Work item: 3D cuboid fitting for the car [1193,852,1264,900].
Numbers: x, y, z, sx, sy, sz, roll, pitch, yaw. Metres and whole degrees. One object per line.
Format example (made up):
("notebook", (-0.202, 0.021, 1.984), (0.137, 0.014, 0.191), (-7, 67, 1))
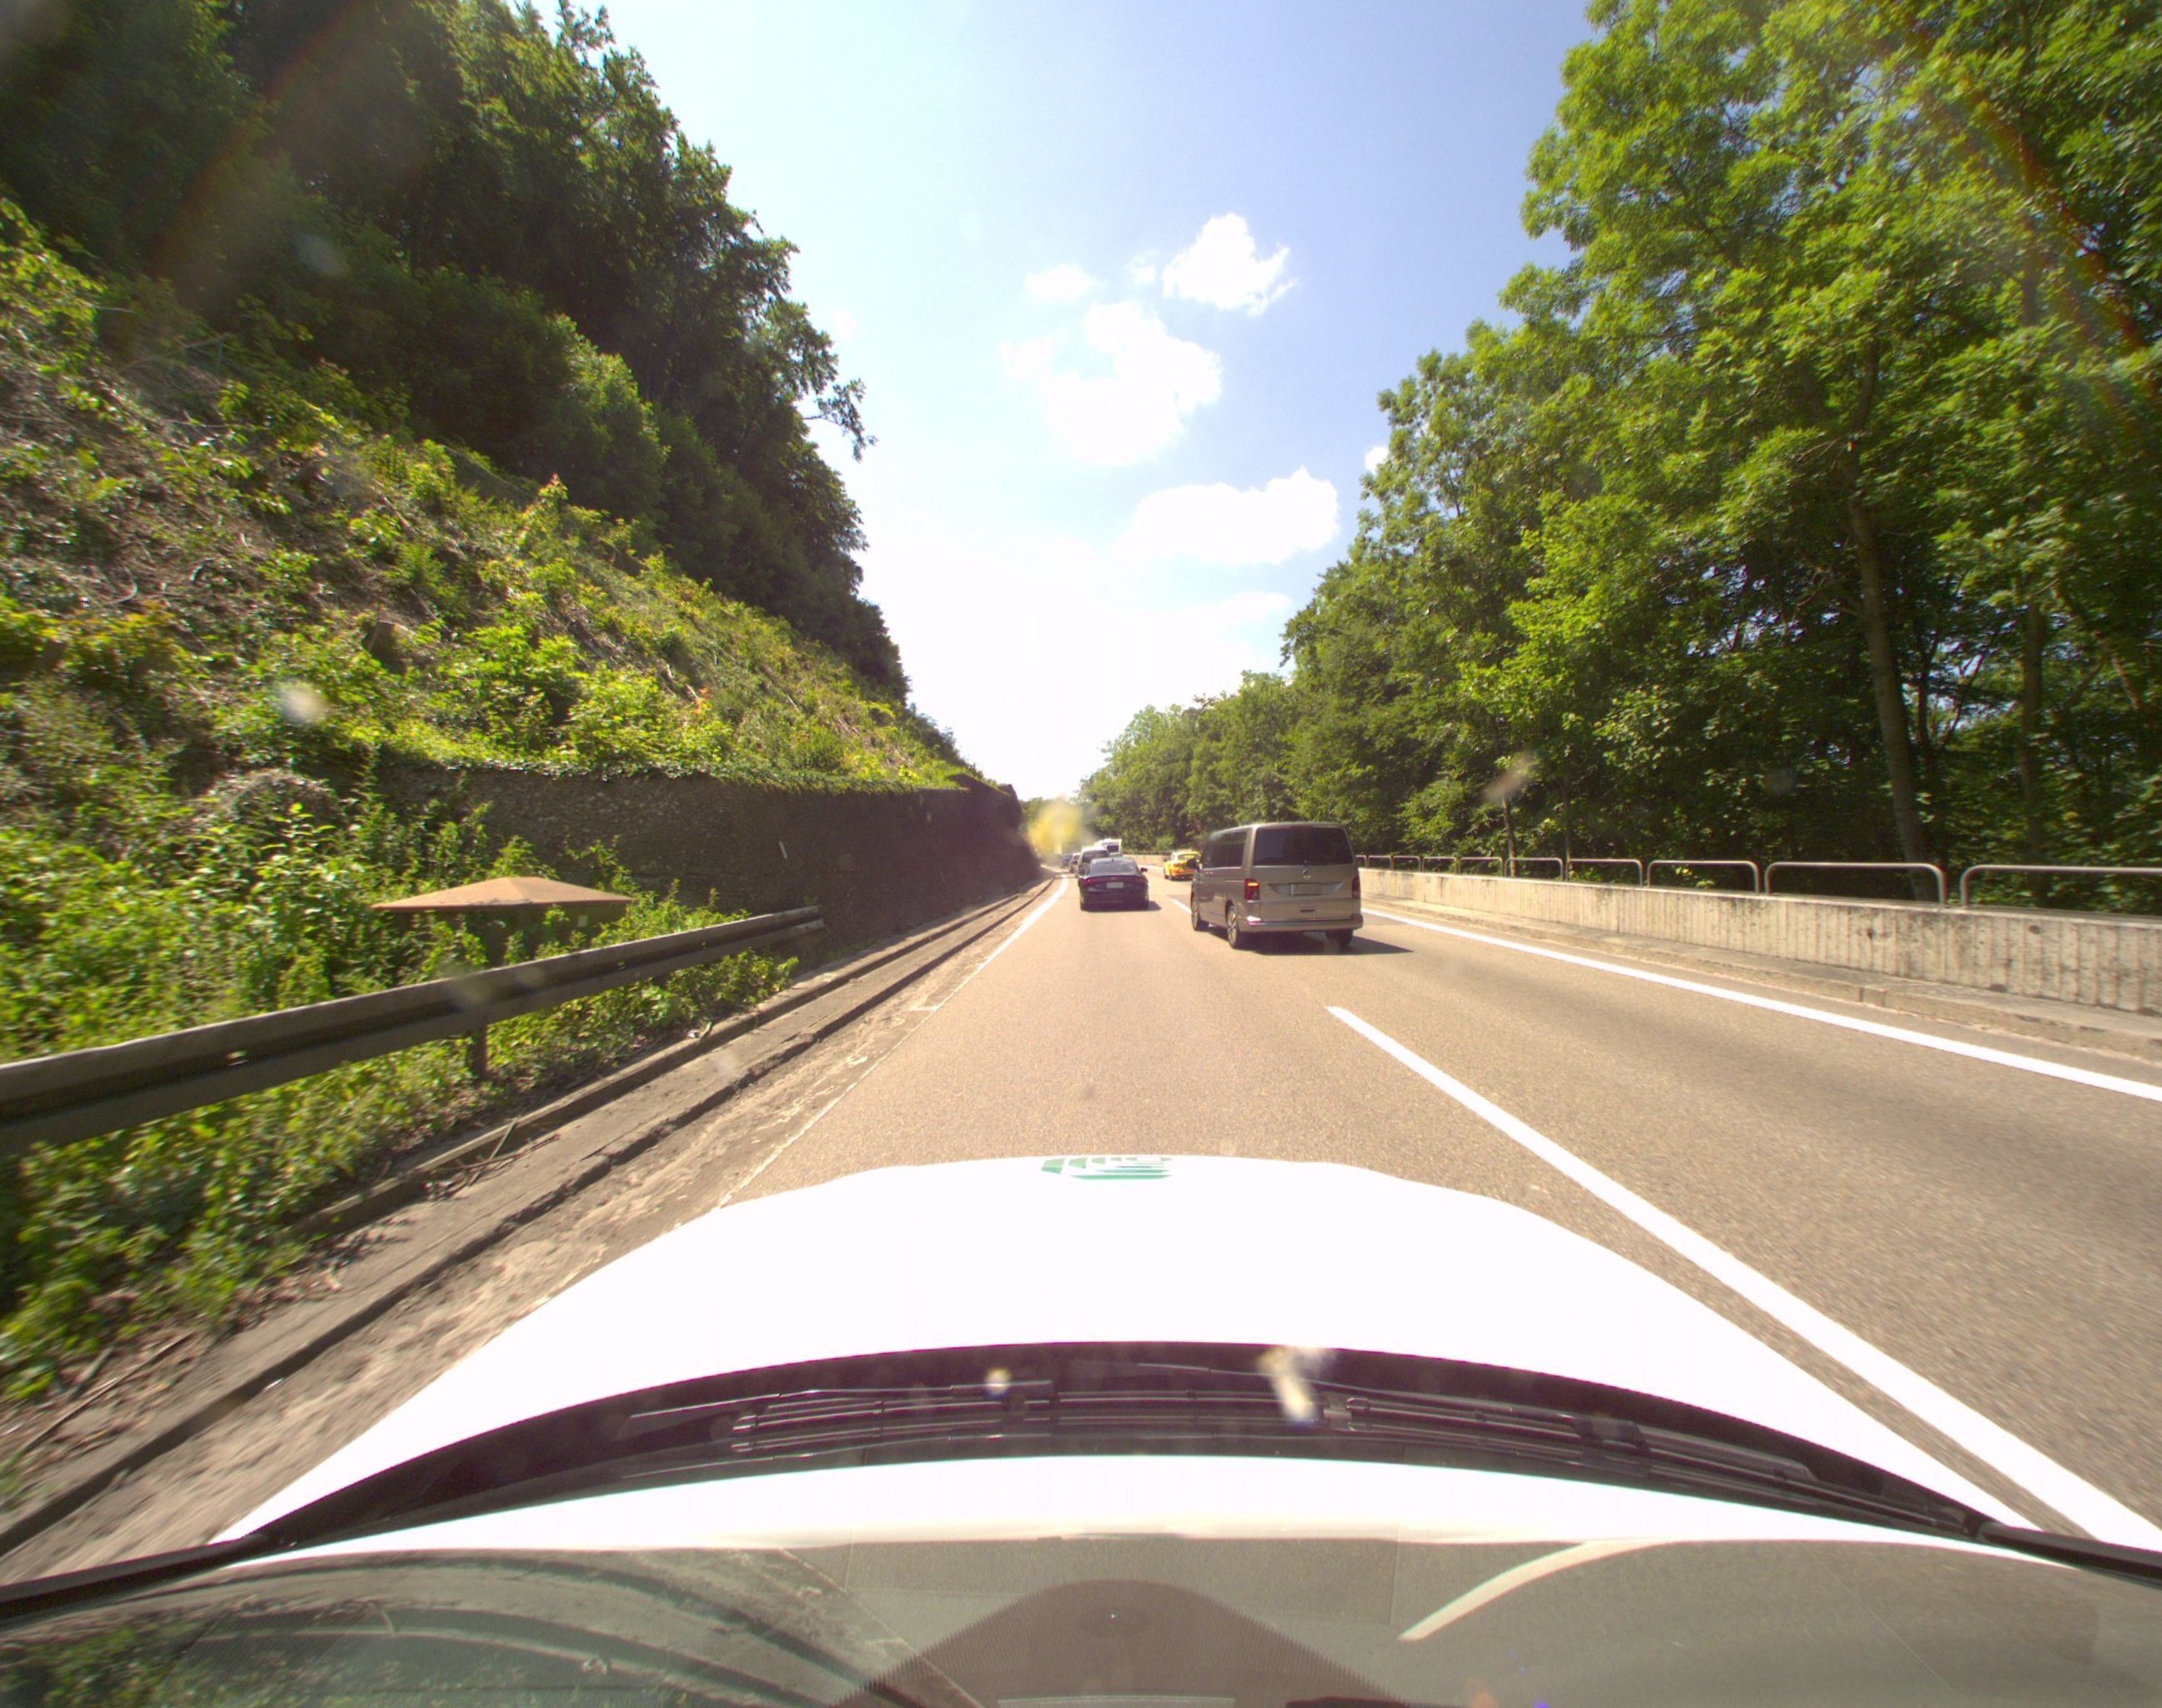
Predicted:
("car", (4.788, 0.663, 26.942), (1.679, 1.458, 4.001), (0, 0, 1))

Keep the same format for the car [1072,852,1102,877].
("car", (0.335, 0.649, 52.599), (1.767, 1.472, 3.997), (-2, 0, -2))

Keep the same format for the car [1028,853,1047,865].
("car", (-5.827, 0.602, 109.207), (1.754, 1.571, 3.752), (0, 0, -15))

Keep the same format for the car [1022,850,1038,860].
("car", (-7.786, 0.127, 123.997), (1.752, 1.571, 3.755), (0, 0, -12))

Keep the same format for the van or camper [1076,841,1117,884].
("van or camper", (0.781, 0.405, 39.897), (1.846, 1.942, 4.167), (2, 0, 2))

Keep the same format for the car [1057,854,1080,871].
("car", (-1.308, 0.797, 81.609), (1.857, 1.619, 3.989), (0, 0, -8))

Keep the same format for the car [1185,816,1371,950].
("car", (3.177, 0.412, 14.194), (1.936, 1.931, 4.690), (-1, 0, -2))

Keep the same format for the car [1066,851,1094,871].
("car", (-0.108, 0.553, 65.898), (1.893, 1.584, 3.762), (0, 0, -7))

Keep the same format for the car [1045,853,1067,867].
("car", (-2.975, 0.678, 96.362), (1.995, 1.618, 3.984), (0, 0, -12))

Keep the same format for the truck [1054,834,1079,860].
("truck", (-2.223, -1.019, 121.148), (2.922, 3.687, 7.705), (3, 0, -7))

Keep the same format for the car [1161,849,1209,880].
("car", (5.335, 0.525, 42.083), (1.803, 1.478, 4.079), (2, 0, -2))

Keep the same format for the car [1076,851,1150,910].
("car", (0.872, 0.690, 23.428), (1.898, 1.489, 4.379), (-1, 0, 1))

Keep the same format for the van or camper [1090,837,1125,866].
("van or camper", (2.646, -0.244, 83.496), (2.601, 2.855, 6.320), (0, 0, -7))

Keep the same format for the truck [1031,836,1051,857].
("truck", (-7.123, -1.284, 143.484), (3.158, 3.468, 8.208), (2, 0, -5))
